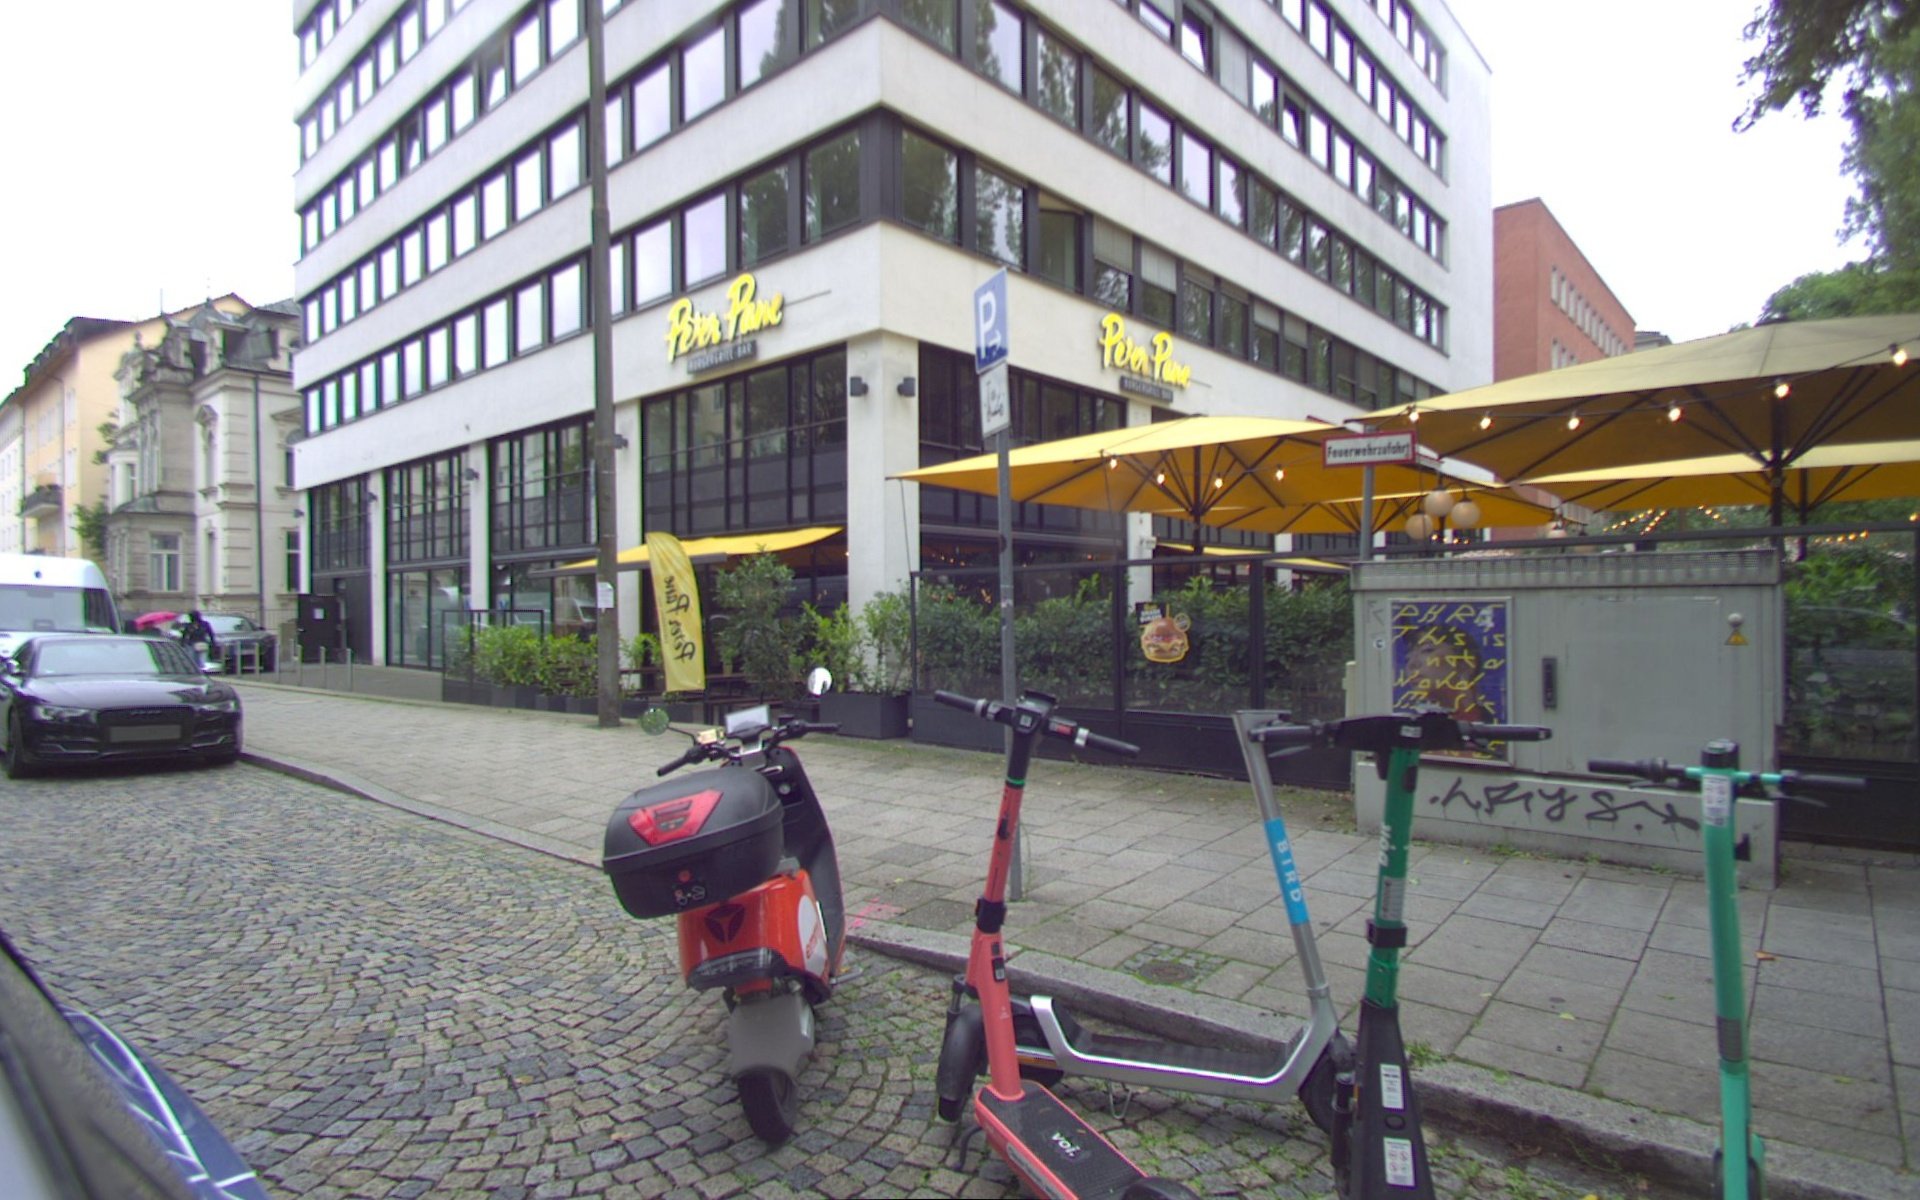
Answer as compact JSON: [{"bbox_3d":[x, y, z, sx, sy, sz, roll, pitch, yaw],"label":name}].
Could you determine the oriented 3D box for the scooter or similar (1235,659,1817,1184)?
[{"bbox_3d":[1.387,0.763,2.640,1.237,1.189,0.389,-1,-1,10],"label":"scooter or similar"}]

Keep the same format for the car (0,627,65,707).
[{"bbox_3d":[-19.151,1.279,19.924,4.001,1.441,1.971,-1,-1,44],"label":"car"}]

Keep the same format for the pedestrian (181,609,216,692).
[{"bbox_3d":[-16.471,1.081,21.889,0.566,1.761,0.652,0,-1,-39],"label":"pedestrian"}]

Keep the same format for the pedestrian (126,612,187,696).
[{"bbox_3d":[-17.093,1.134,21.532,0.800,1.719,0.916,-1,-1,44],"label":"pedestrian"}]

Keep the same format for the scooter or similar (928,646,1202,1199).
[{"bbox_3d":[0.227,0.805,2.990,0.322,1.282,1.361,-1,0,-15],"label":"scooter or similar"}]

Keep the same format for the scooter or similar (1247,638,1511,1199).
[{"bbox_3d":[0.947,0.756,2.485,0.324,1.282,1.247,-1,-1,10],"label":"scooter or similar"}]

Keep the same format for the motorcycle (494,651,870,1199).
[{"bbox_3d":[-0.737,0.815,3.352,0.760,1.205,1.992,-1,-1,-2],"label":"motorcycle"}]

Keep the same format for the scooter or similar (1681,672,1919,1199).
[{"bbox_3d":[1.706,0.759,1.981,0.327,1.153,1.234,-1,-1,42],"label":"scooter or similar"}]

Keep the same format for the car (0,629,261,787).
[{"bbox_3d":[-9.337,1.009,11.025,4.115,1.340,1.972,-1,-1,42],"label":"car"}]

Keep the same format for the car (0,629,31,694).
[{"bbox_3d":[-22.677,1.377,22.919,3.998,1.399,1.973,-1,-1,41],"label":"car"}]

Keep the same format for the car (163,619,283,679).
[{"bbox_3d":[-20.768,1.323,28.463,4.168,1.544,1.887,-1,-1,42],"label":"car"}]

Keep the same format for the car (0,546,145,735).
[{"bbox_3d":[-14.631,0.583,15.715,5.845,2.510,2.038,-1,-1,40],"label":"car"}]
